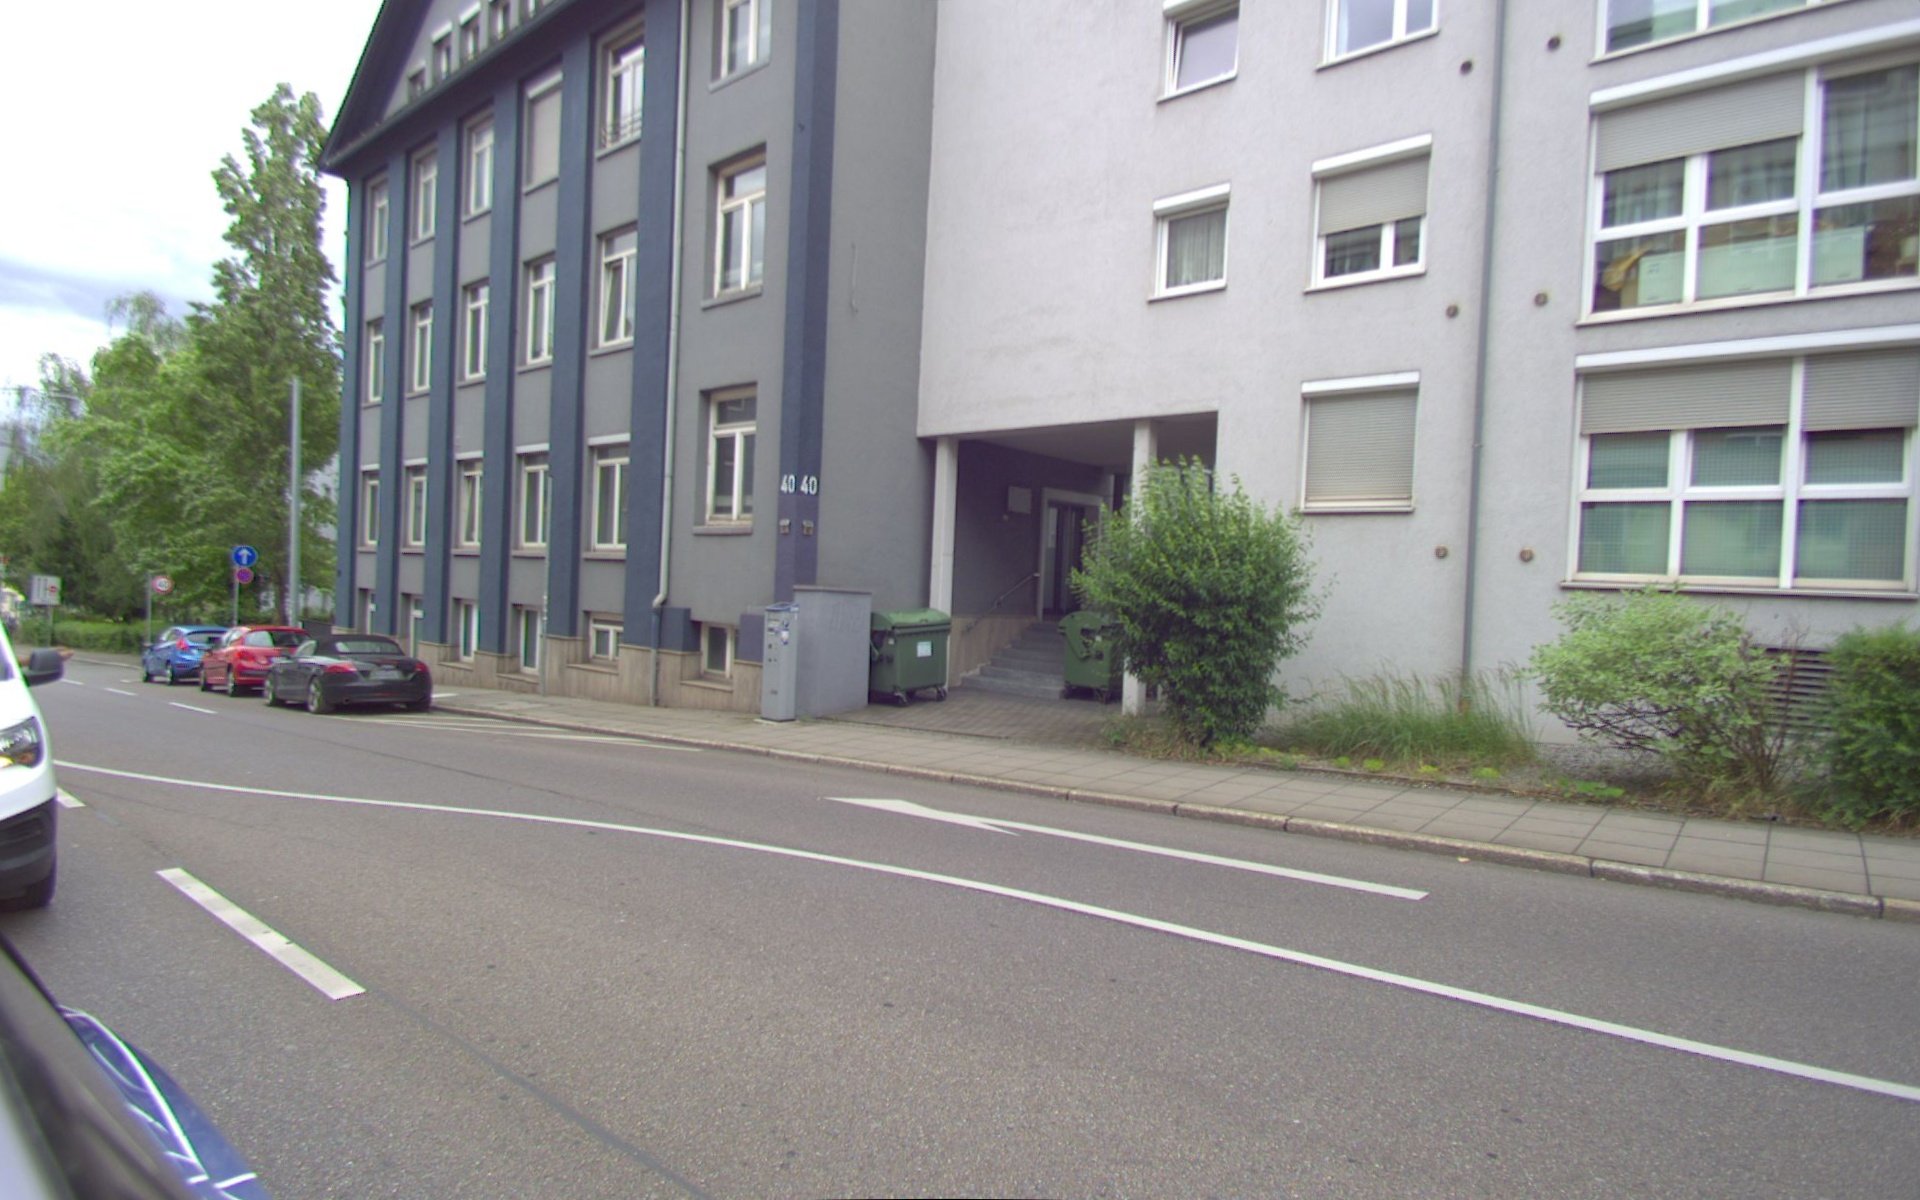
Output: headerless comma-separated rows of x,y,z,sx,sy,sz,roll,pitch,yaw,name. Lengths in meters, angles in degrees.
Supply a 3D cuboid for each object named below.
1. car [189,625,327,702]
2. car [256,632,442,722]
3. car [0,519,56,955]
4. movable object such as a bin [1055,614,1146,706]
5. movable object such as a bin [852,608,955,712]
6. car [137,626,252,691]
-15.339,1.314,22.045,3.727,1.460,1.623,-1,0,41,car
-10.978,1.287,18.102,3.727,1.403,1.778,-1,-2,41,car
-6.132,0.622,5.222,3.998,1.901,1.716,-1,0,41,car
2.298,0.948,16.570,1.078,1.427,1.026,-1,0,41,movable object such as a bin
-0.865,0.895,15.697,1.039,1.518,1.213,-1,0,41,movable object such as a bin
-19.495,1.438,25.724,3.727,1.460,1.623,-1,0,41,car
